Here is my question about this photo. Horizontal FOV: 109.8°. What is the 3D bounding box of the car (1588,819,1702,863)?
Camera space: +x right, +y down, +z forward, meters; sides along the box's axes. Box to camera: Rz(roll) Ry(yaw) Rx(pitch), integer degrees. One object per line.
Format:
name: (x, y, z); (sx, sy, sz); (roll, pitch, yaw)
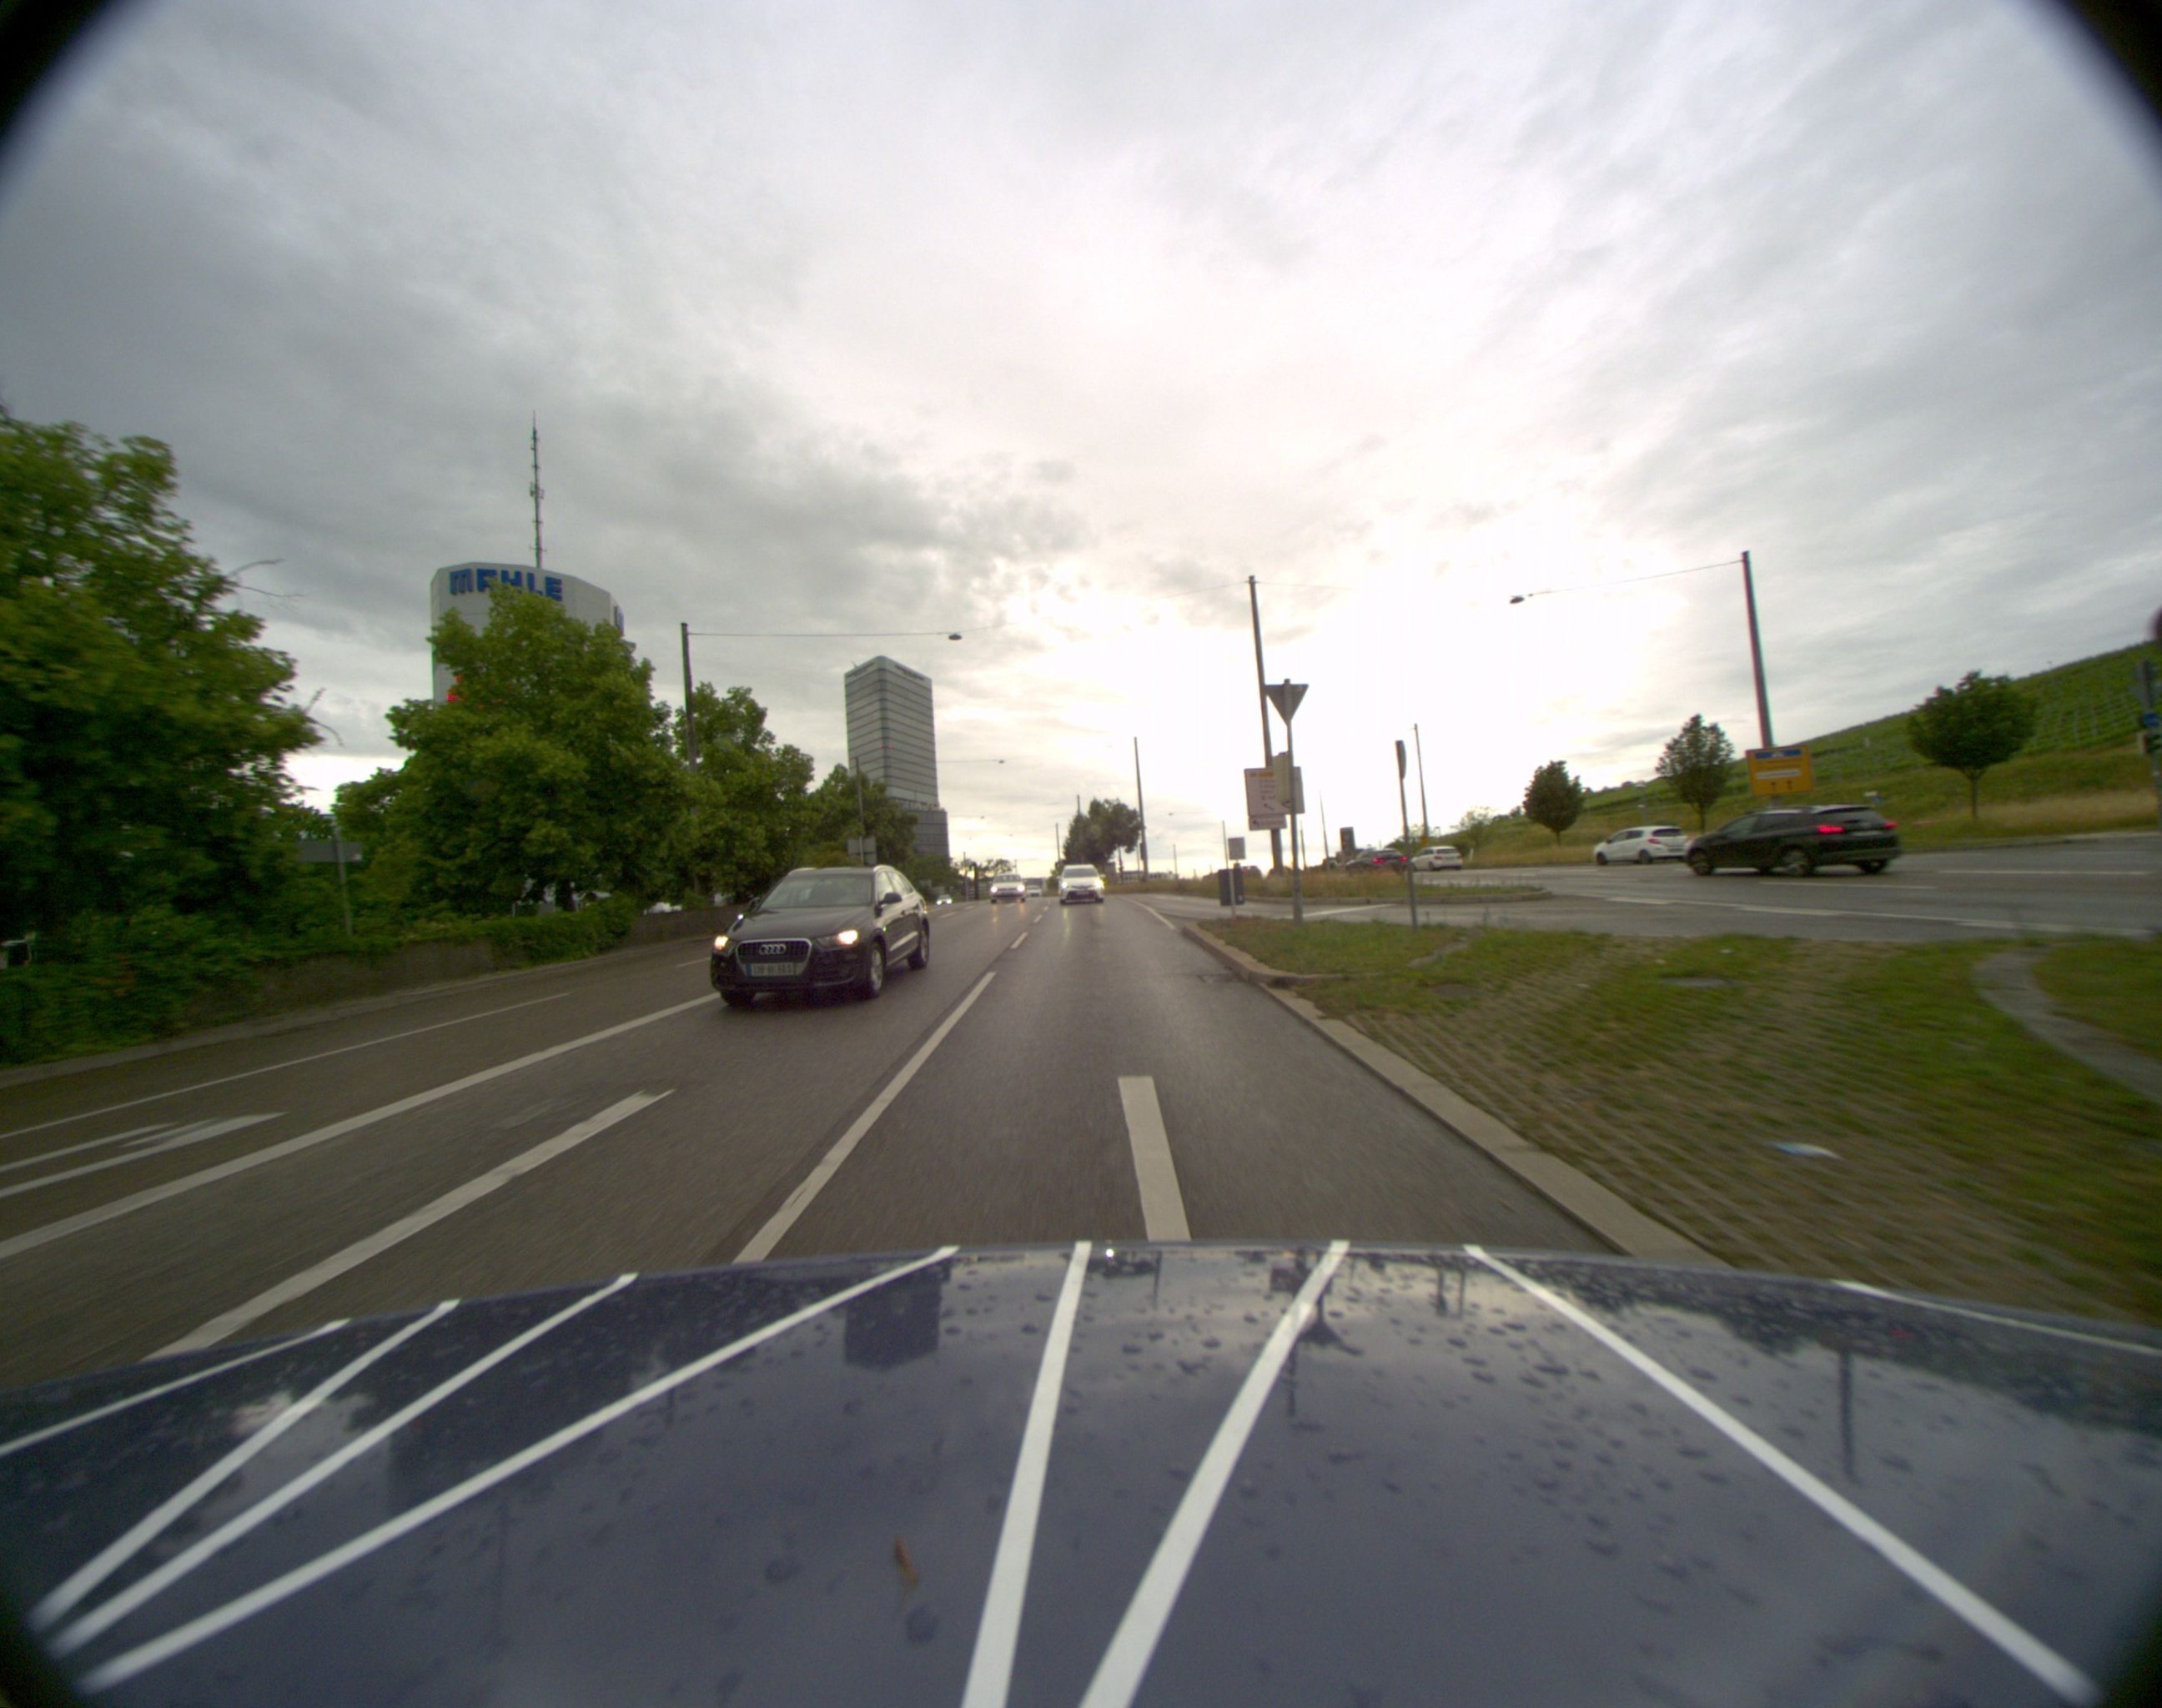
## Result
car: (22.195, -0.469, 30.086); (1.655, 1.454, 3.775); (-4, -2, 1)

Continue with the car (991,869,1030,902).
car: (-3.455, 1.552, 37.938); (1.730, 1.463, 4.263); (-3, -1, -4)

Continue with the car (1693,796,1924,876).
car: (16.029, -0.353, 17.030); (1.542, 1.495, 3.661); (-4, 0, -2)

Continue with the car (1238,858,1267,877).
car: (15.807, 1.283, 70.187); (1.772, 1.508, 4.002); (-4, -3, 1)

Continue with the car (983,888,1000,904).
car: (-10.628, 4.998, 90.380); (1.803, 1.763, 4.000); (-4, -3, -9)

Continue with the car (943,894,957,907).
car: (-16.290, 5.784, 94.606); (1.636, 1.466, 3.676); (-4, -3, -9)

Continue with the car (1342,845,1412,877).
car: (15.531, 0.388, 40.177); (1.755, 1.495, 4.463); (-4, 0, -2)

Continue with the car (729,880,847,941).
car: (-8.980, 1.683, 23.734); (1.876, 1.417, 4.347); (-4, 1, 0)

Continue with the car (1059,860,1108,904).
car: (0.166, 1.118, 31.868); (1.827, 1.574, 4.298); (-4, -1, 2)

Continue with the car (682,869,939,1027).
car: (-3.264, 1.043, 10.150); (1.729, 1.524, 4.127); (-5, -1, 2)

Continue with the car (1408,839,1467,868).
car: (22.581, -0.013, 48.305); (1.772, 1.638, 4.178); (-4, 0, 1)

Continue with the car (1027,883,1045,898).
car: (-4.731, 3.870, 79.570); (1.543, 1.420, 3.808); (-4, -3, -6)
